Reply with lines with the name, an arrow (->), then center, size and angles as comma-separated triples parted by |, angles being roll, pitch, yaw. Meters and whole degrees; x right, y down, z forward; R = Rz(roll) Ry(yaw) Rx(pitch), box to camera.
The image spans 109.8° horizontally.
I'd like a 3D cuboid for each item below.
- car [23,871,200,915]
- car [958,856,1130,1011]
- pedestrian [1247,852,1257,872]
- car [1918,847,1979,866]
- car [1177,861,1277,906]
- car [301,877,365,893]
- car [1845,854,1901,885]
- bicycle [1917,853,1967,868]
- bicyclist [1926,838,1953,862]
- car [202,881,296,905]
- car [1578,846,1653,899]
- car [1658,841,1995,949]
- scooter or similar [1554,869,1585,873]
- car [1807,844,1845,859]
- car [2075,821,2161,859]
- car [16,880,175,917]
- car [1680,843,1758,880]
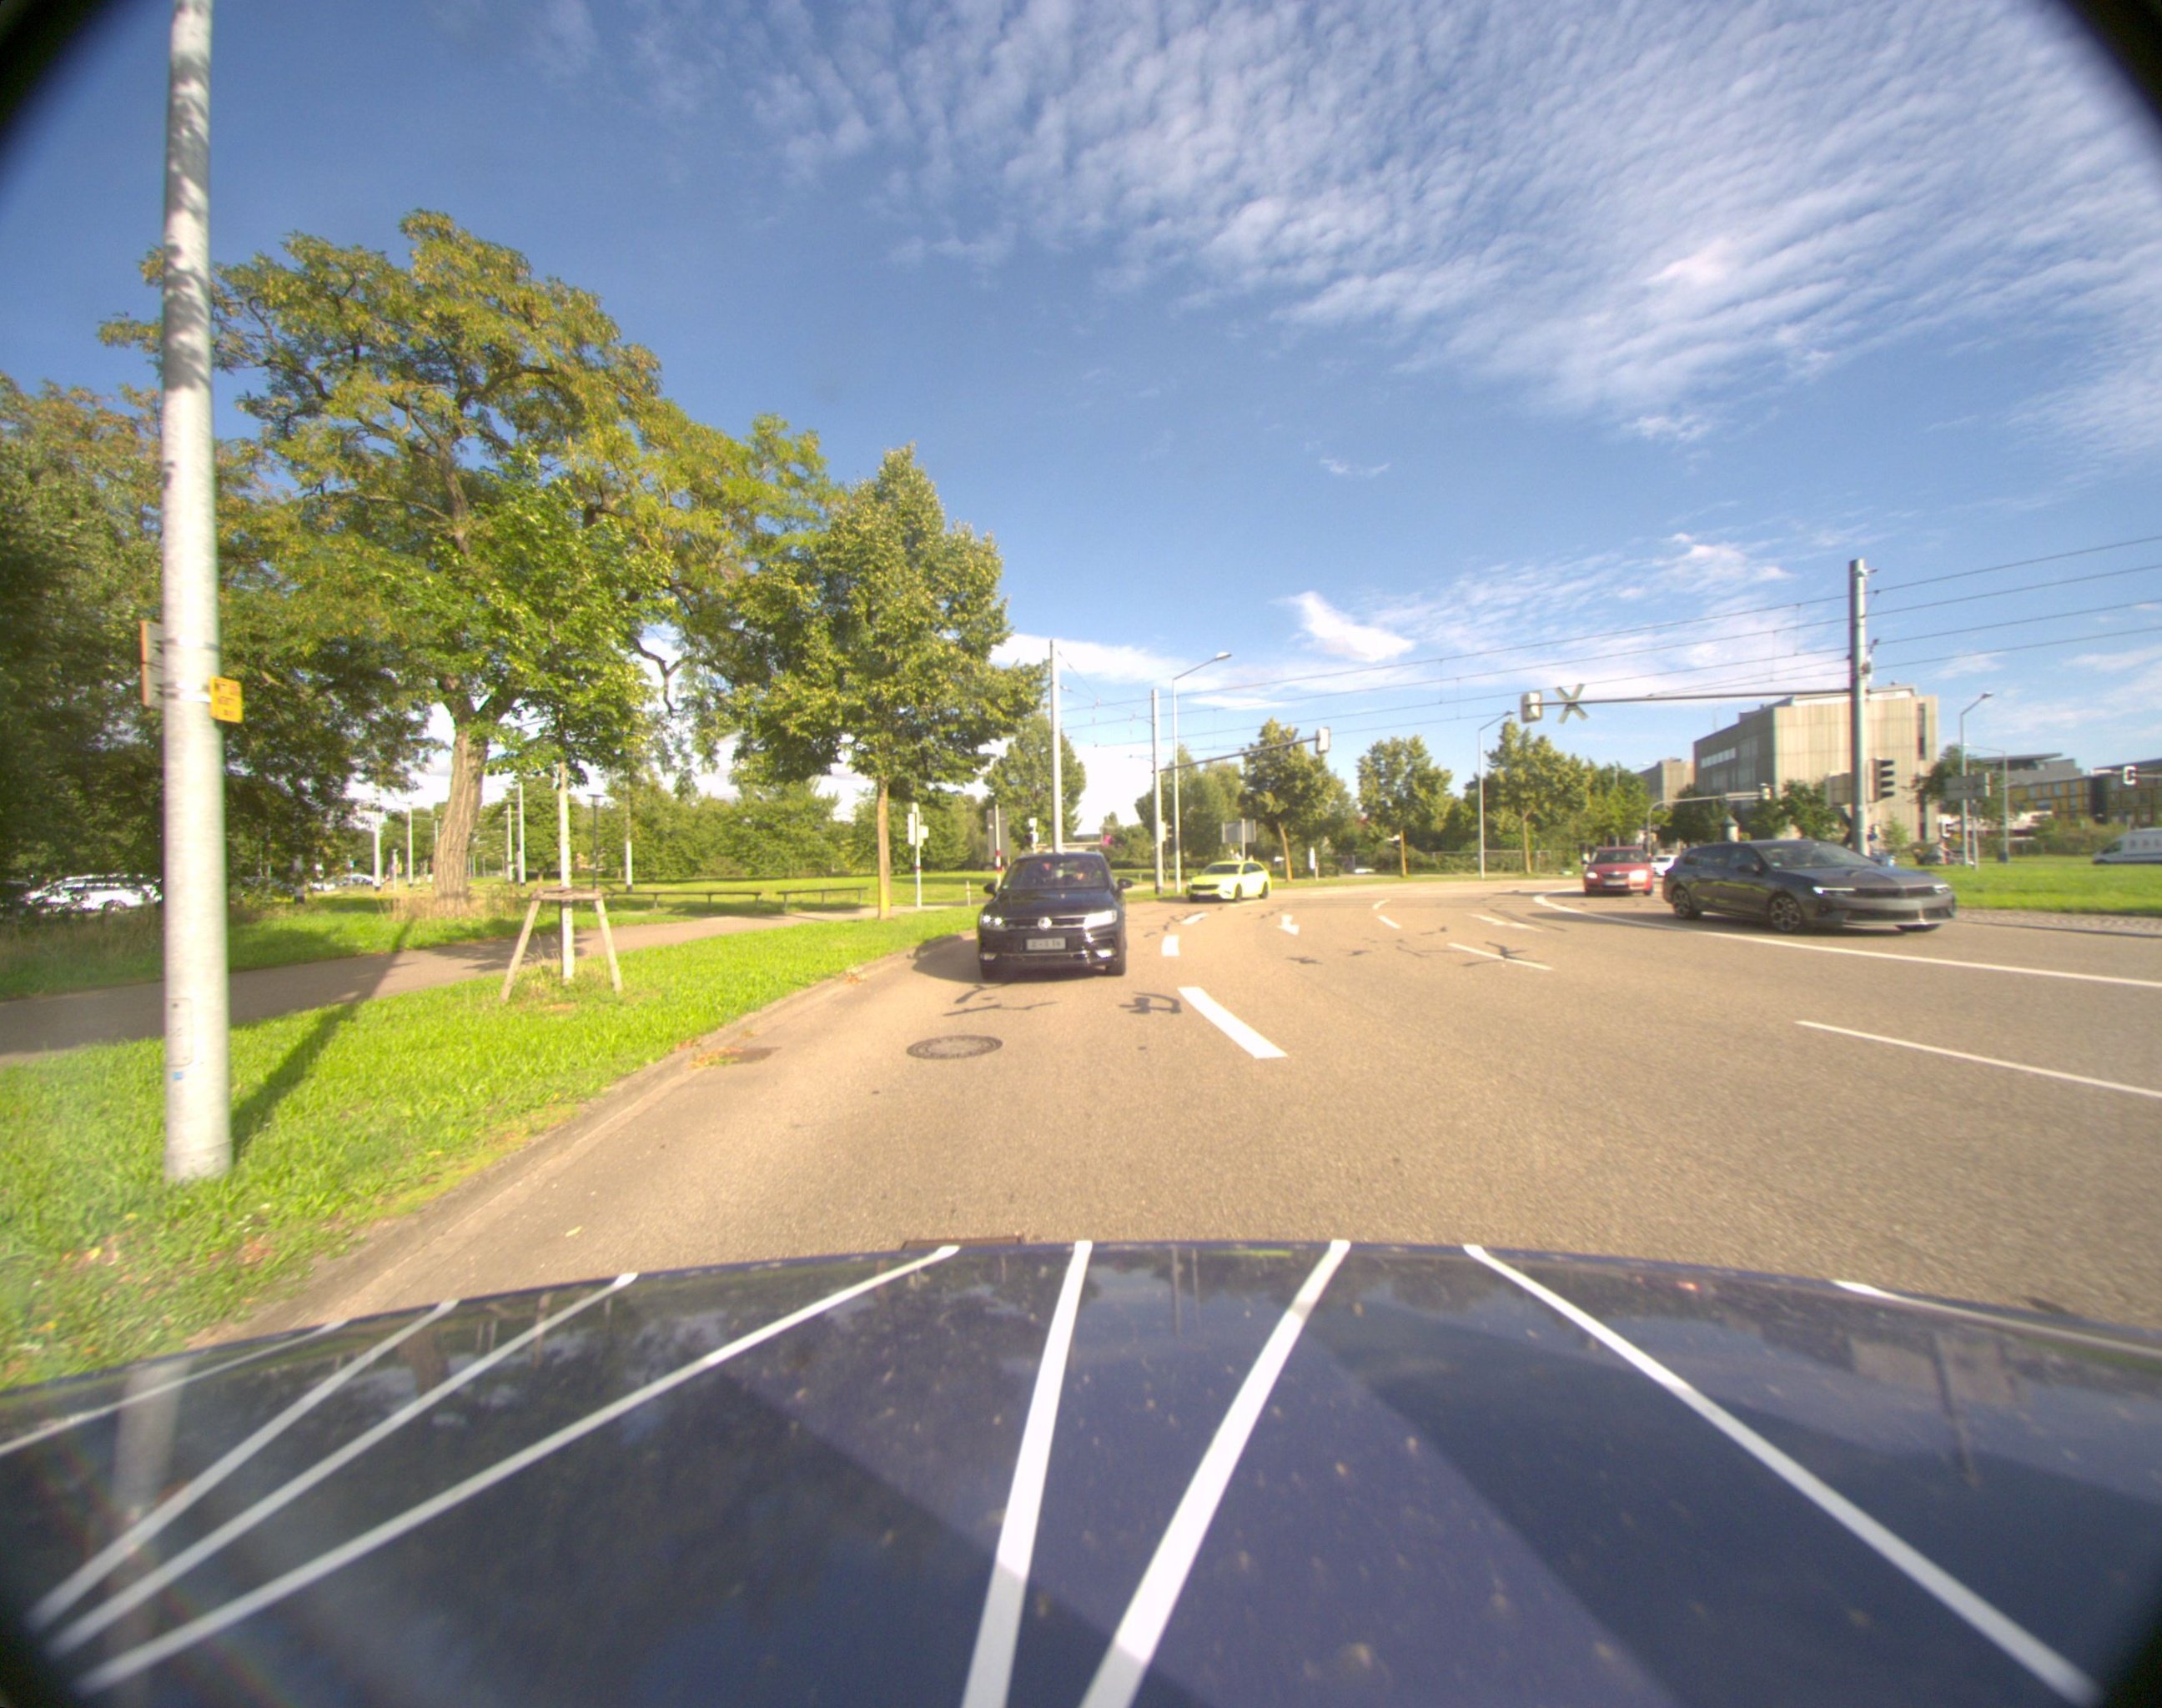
car -> -49.962, 1.939, 39.366 | 5.121, 1.995, 2.311 | -1, 0, -32
car -> -0.257, 0.899, 10.984 | 1.871, 1.685, 5.016 | -1, 0, 4
pedestrian -> 15.360, 0.704, 68.256 | 0.669, 1.722, 0.595 | -2, 1, -38
car -> 72.696, 0.196, 63.771 | 1.681, 1.492, 4.001 | 1, 0, 21
car -> 5.386, 1.011, 27.537 | 1.892, 1.412, 4.617 | -3, -1, 34
car -> -81.016, 3.326, 82.362 | 4.474, 1.532, 1.856 | -1, 0, -25
car -> 46.150, 0.887, 44.351 | 1.994, 1.652, 4.813 | -1, 0, 43
bicycle -> 57.022, 0.431, 50.364 | 1.956, 1.001, 1.004 | -1, 0, 29
bicyclist -> 56.954, -0.285, 50.408 | 0.863, 1.546, 0.999 | -1, 0, 29
car -> -63.269, 2.946, 57.875 | 4.476, 1.532, 1.855 | -1, 0, -32
car -> 16.354, 0.549, 23.357 | 1.690, 1.466, 4.236 | -3, -2, 34
car -> 11.727, 0.579, 12.487 | 1.821, 1.412, 4.452 | -2, -1, 12
scooter or similar -> 37.355, 1.268, 58.077 | 1.552, 0.279, 1.293 | -1, 0, 0
car -> 81.291, -0.278, 82.958 | 1.681, 1.492, 4.000 | -1, 0, 23
car -> 66.256, -0.851, 47.182 | 2.062, 2.250, 6.029 | 1, 0, 12
car -> -48.112, 2.118, 37.268 | 4.478, 1.506, 1.856 | -1, 0, -43
car -> 26.797, 0.332, 31.869 | 4.235, 1.466, 1.690 | 0, -1, -39
